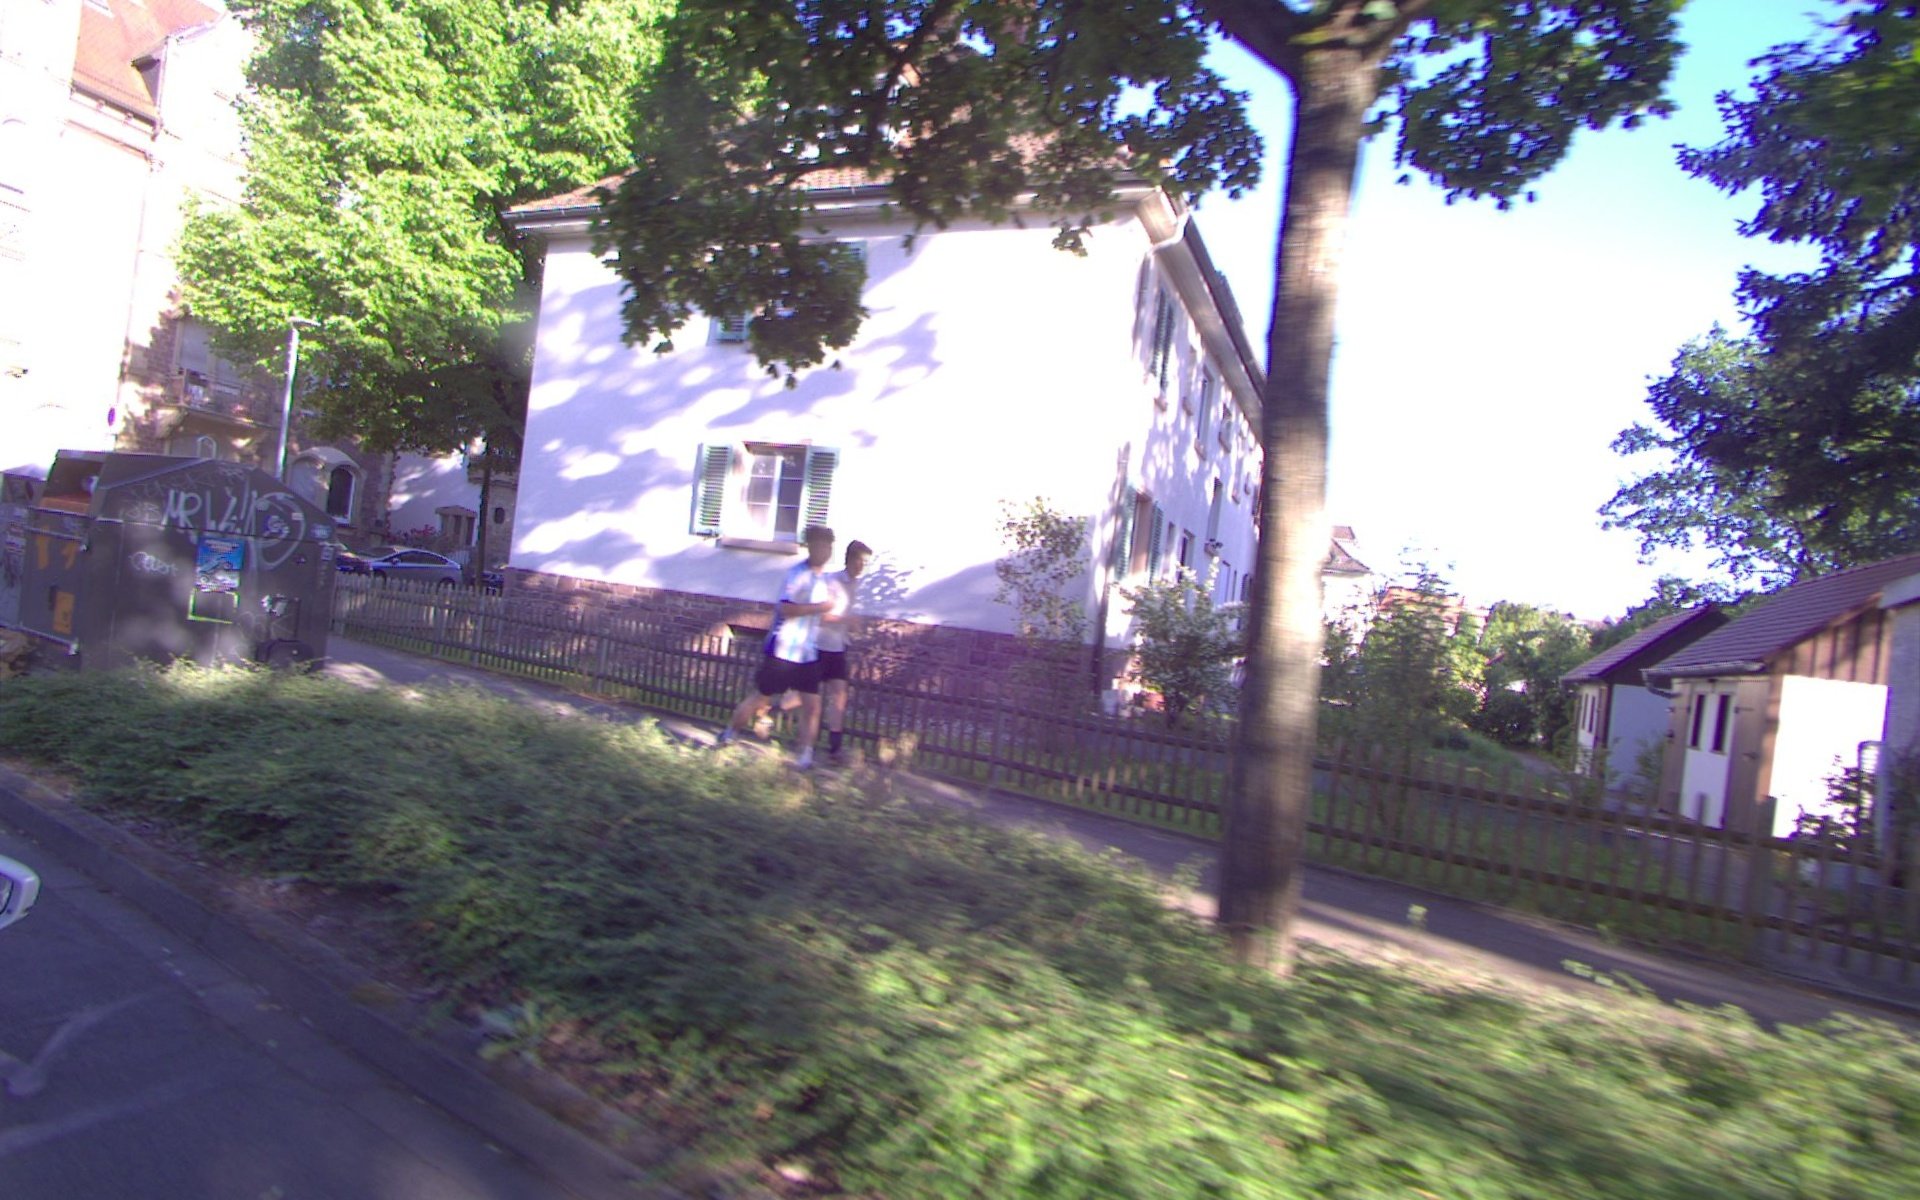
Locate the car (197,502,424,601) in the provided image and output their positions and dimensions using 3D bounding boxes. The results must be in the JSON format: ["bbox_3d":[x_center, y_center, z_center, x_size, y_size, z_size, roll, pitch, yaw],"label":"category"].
[{"bbox_3d":[-13.676,-1.015,21.226,3.927,1.573,2.002,5,-3,22],"label":"car"}]

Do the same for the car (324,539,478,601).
[{"bbox_3d":[-19.152,-0.985,34.704,1.703,1.516,4.456,8,-1,22],"label":"car"}]

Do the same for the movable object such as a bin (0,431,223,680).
[{"bbox_3d":[-7.313,-0.358,8.479,1.363,1.848,1.150,6,-2,31],"label":"movable object such as a bin"}]

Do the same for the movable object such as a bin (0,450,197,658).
[{"bbox_3d":[-8.549,-0.437,9.419,1.613,1.676,1.590,6,-2,31],"label":"movable object such as a bin"}]

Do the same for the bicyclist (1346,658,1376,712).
[{"bbox_3d":[11.739,2.486,29.446,0.616,1.505,0.602,7,-2,19],"label":"bicyclist"}]

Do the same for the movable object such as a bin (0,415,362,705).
[{"bbox_3d":[-6.095,-0.241,7.773,1.370,1.874,1.925,6,-2,31],"label":"movable object such as a bin"}]

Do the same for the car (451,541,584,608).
[{"bbox_3d":[-17.295,-0.939,39.576,1.939,1.997,4.499,8,-1,22],"label":"car"}]

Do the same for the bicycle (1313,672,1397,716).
[{"bbox_3d":[11.624,2.763,29.700,2.188,0.959,0.602,7,-2,19],"label":"bicycle"}]

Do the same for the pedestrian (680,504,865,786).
[{"bbox_3d":[-1.375,0.321,7.412,0.880,1.915,0.674,6,-2,32],"label":"pedestrian"}]

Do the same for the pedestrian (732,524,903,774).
[{"bbox_3d":[-1.183,0.396,8.391,1.001,1.915,0.643,6,-2,32],"label":"pedestrian"}]
